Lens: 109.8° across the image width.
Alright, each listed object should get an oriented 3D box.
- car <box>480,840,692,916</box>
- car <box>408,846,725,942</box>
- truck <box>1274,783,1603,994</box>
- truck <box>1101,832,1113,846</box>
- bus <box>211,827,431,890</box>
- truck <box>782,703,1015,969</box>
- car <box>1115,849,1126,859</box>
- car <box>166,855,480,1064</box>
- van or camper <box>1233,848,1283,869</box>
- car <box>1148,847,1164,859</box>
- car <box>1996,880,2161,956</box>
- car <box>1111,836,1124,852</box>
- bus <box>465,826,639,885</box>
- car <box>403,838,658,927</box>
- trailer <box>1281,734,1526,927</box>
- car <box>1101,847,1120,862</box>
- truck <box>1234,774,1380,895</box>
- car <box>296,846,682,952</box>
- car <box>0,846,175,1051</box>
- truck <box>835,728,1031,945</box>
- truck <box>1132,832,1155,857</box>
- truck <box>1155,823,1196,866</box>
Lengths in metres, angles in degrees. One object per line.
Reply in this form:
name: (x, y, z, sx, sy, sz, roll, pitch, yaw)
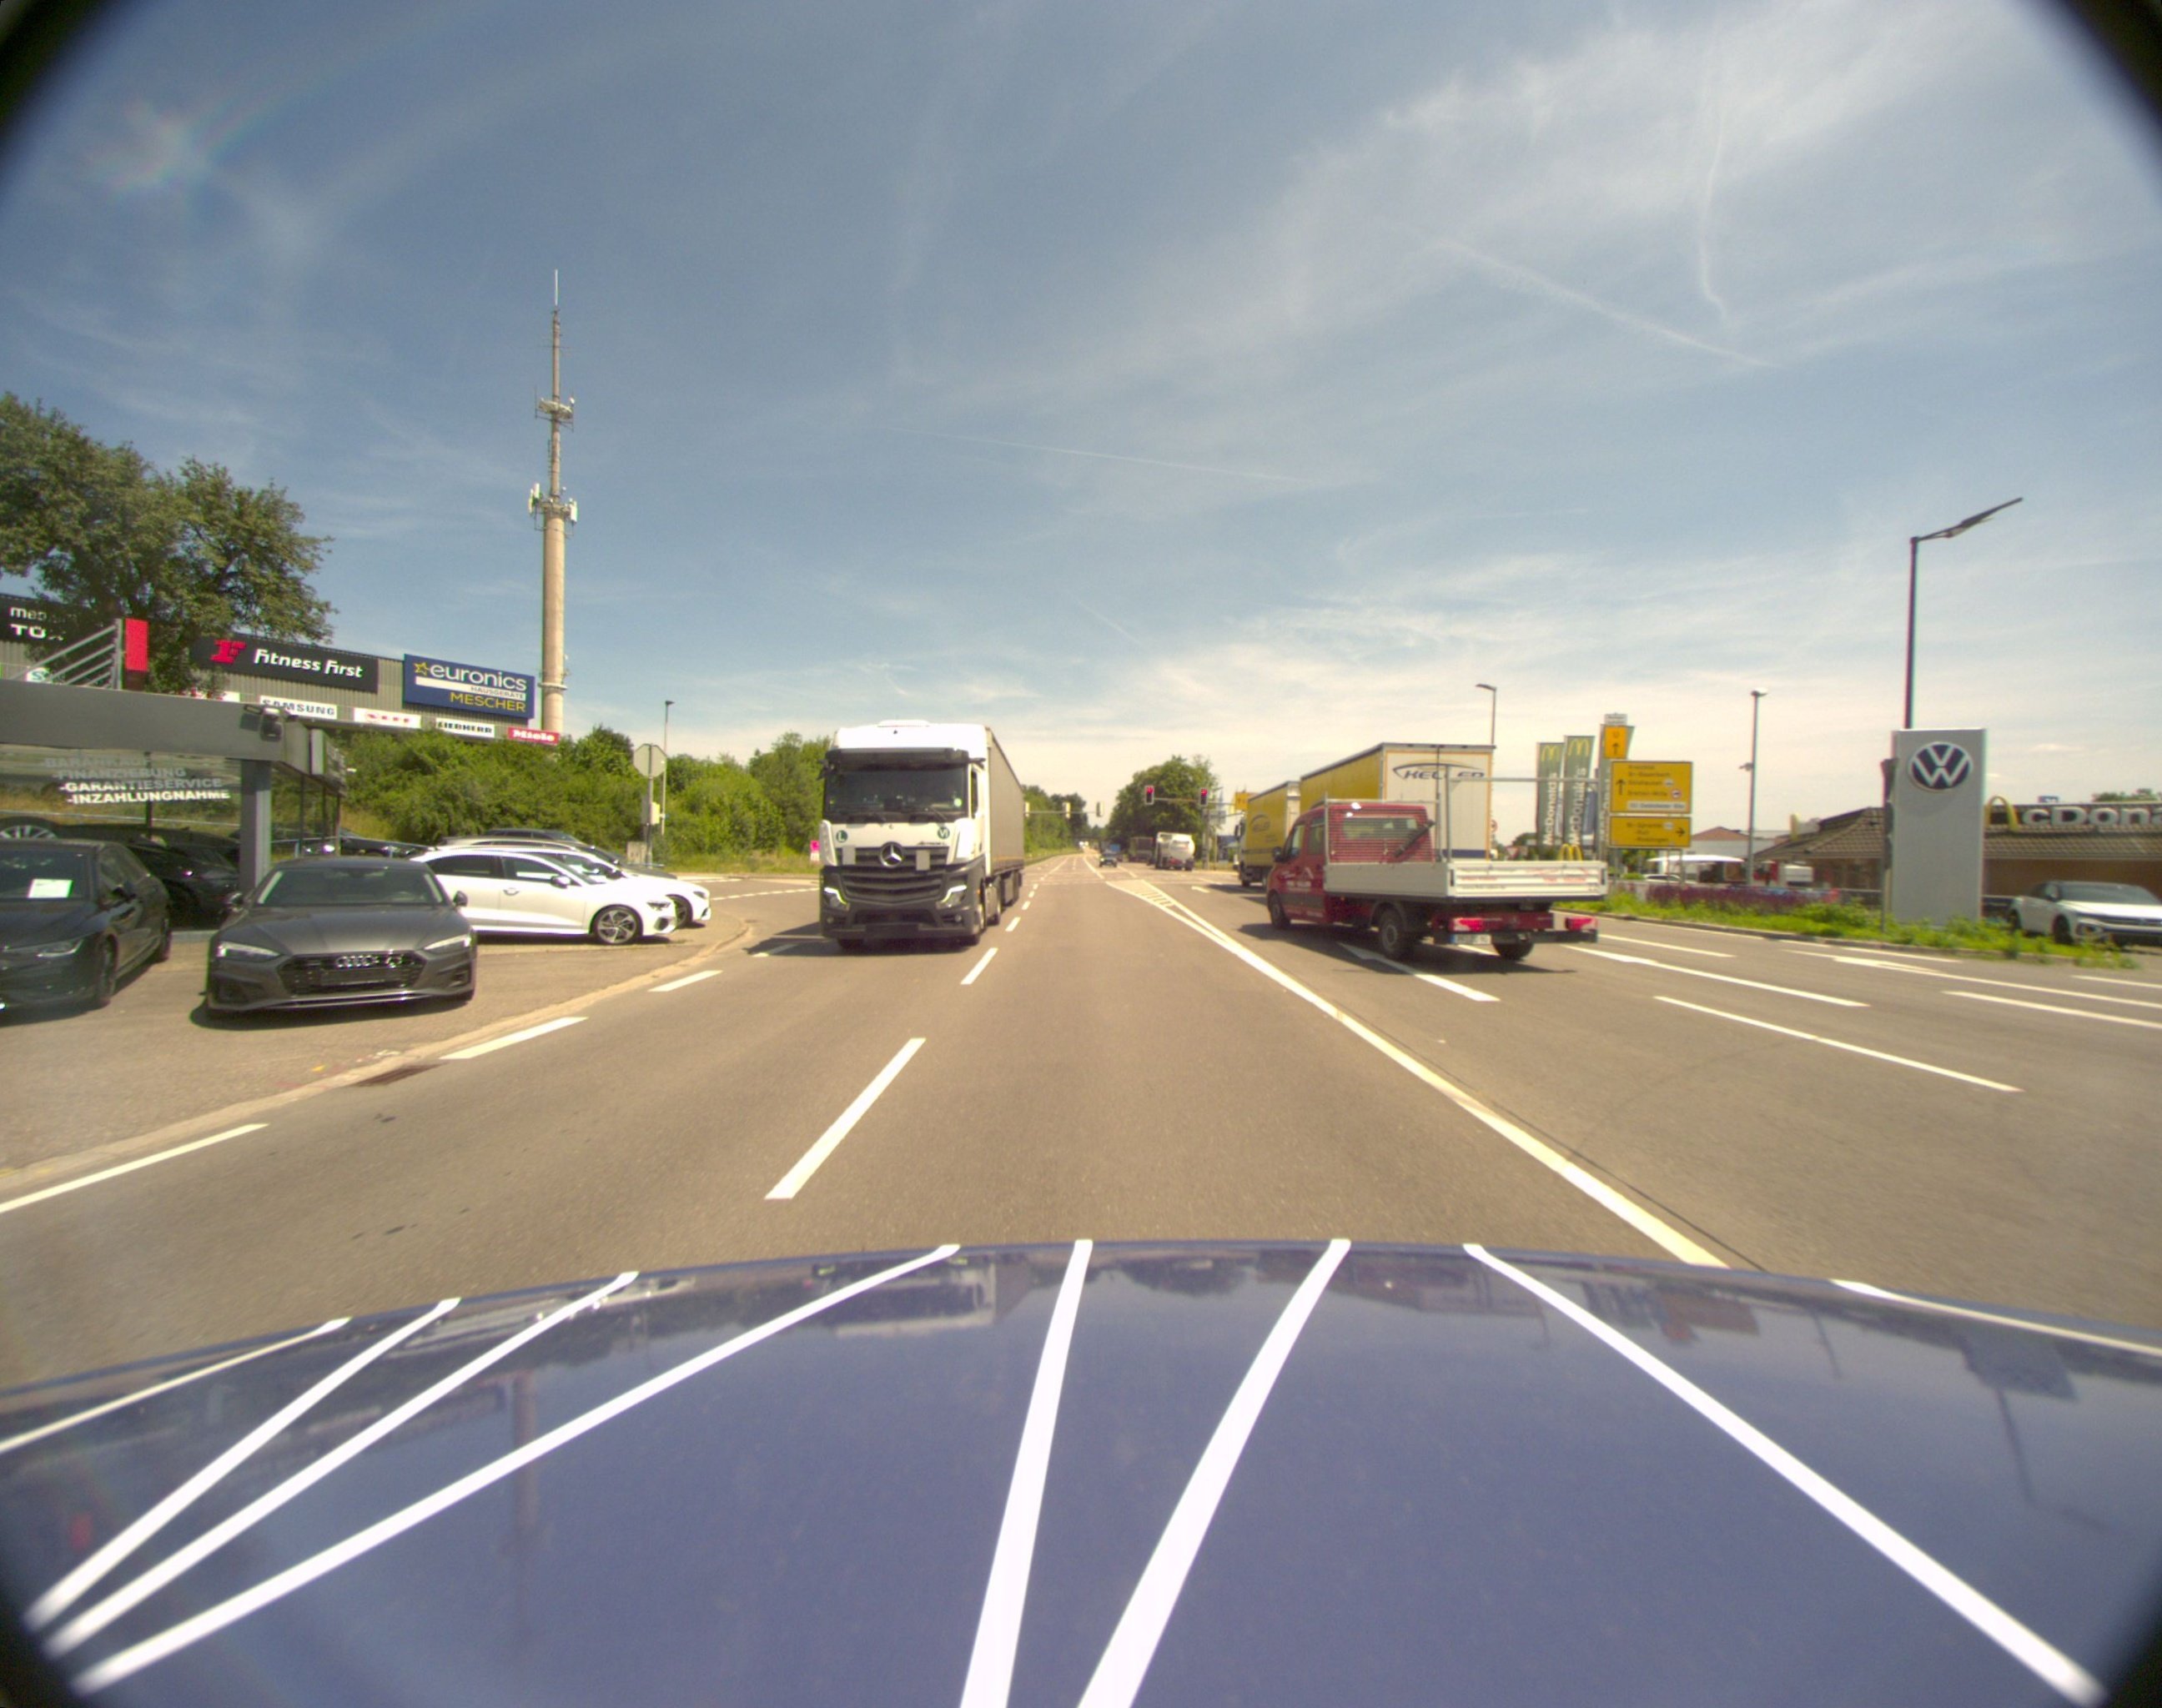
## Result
car: (-12.194, 0.594, 18.885, 4.193, 1.681, 1.879, 3, 0, -36)
car: (-9.701, 0.743, 14.638, 4.750, 1.543, 1.994, 3, -1, -39)
truck: (5.043, 0.364, 12.308, 2.402, 2.430, 6.872, -1, 1, 3)
truck: (8.667, -4.758, 248.599, 3.533, 4.496, 7.203, -1, 1, 4)
bus: (-23.970, 0.155, 24.221, 4.511, 1.641, 1.938, 3, 2, -25)
truck: (-3.085, -0.285, 14.846, 2.981, 3.987, 6.326, 2, 0, -1)
car: (6.266, -0.031, 120.919, 1.688, 1.489, 3.955, 3, 1, 1)
car: (-8.170, 0.850, 8.432, 1.932, 1.379, 4.918, 1, 2, -43)
van or camper: (21.319, 0.516, 91.467, 5.466, 2.398, 2.096, 0, 1, -3)
car: (9.869, -0.101, 100.293, 1.688, 1.420, 4.153, 2, 1, 1)
car: (23.672, 1.425, 17.712, 2.121, 1.471, 4.009, 2, 1, 37)
car: (9.685, -2.691, 202.371, 3.350, 4.056, 7.694, 1, 1, 4)
bus: (-18.161, 0.022, 26.292, 4.505, 1.642, 1.941, 4, 2, -9)
car: (-11.617, 0.599, 16.308, 4.184, 1.681, 1.879, 3, 0, -36)
trailer: (8.453, -0.541, 21.855, 3.018, 4.262, 10.059, 0, 0, 2)
car: (3.219, 0.016, 83.227, 1.928, 1.601, 4.509, 0, 1, 1)
truck: (8.774, -0.676, 31.177, 3.036, 4.081, 10.355, 1, 0, 2)
car: (-8.949, 0.741, 12.043, 4.485, 1.401, 1.742, 5, -1, -31)
car: (-10.320, 0.731, 7.122, 1.858, 1.412, 4.152, 1, 2, -43)
truck: (-3.230, -0.363, 21.311, 2.981, 3.986, 14.119, 2, 0, -1)
truck: (10.317, -1.513, 127.288, 2.851, 3.932, 17.088, 1, 0, 2)
truck: (9.545, -0.879, 78.480, 2.611, 3.995, 15.131, -1, 0, 1)
